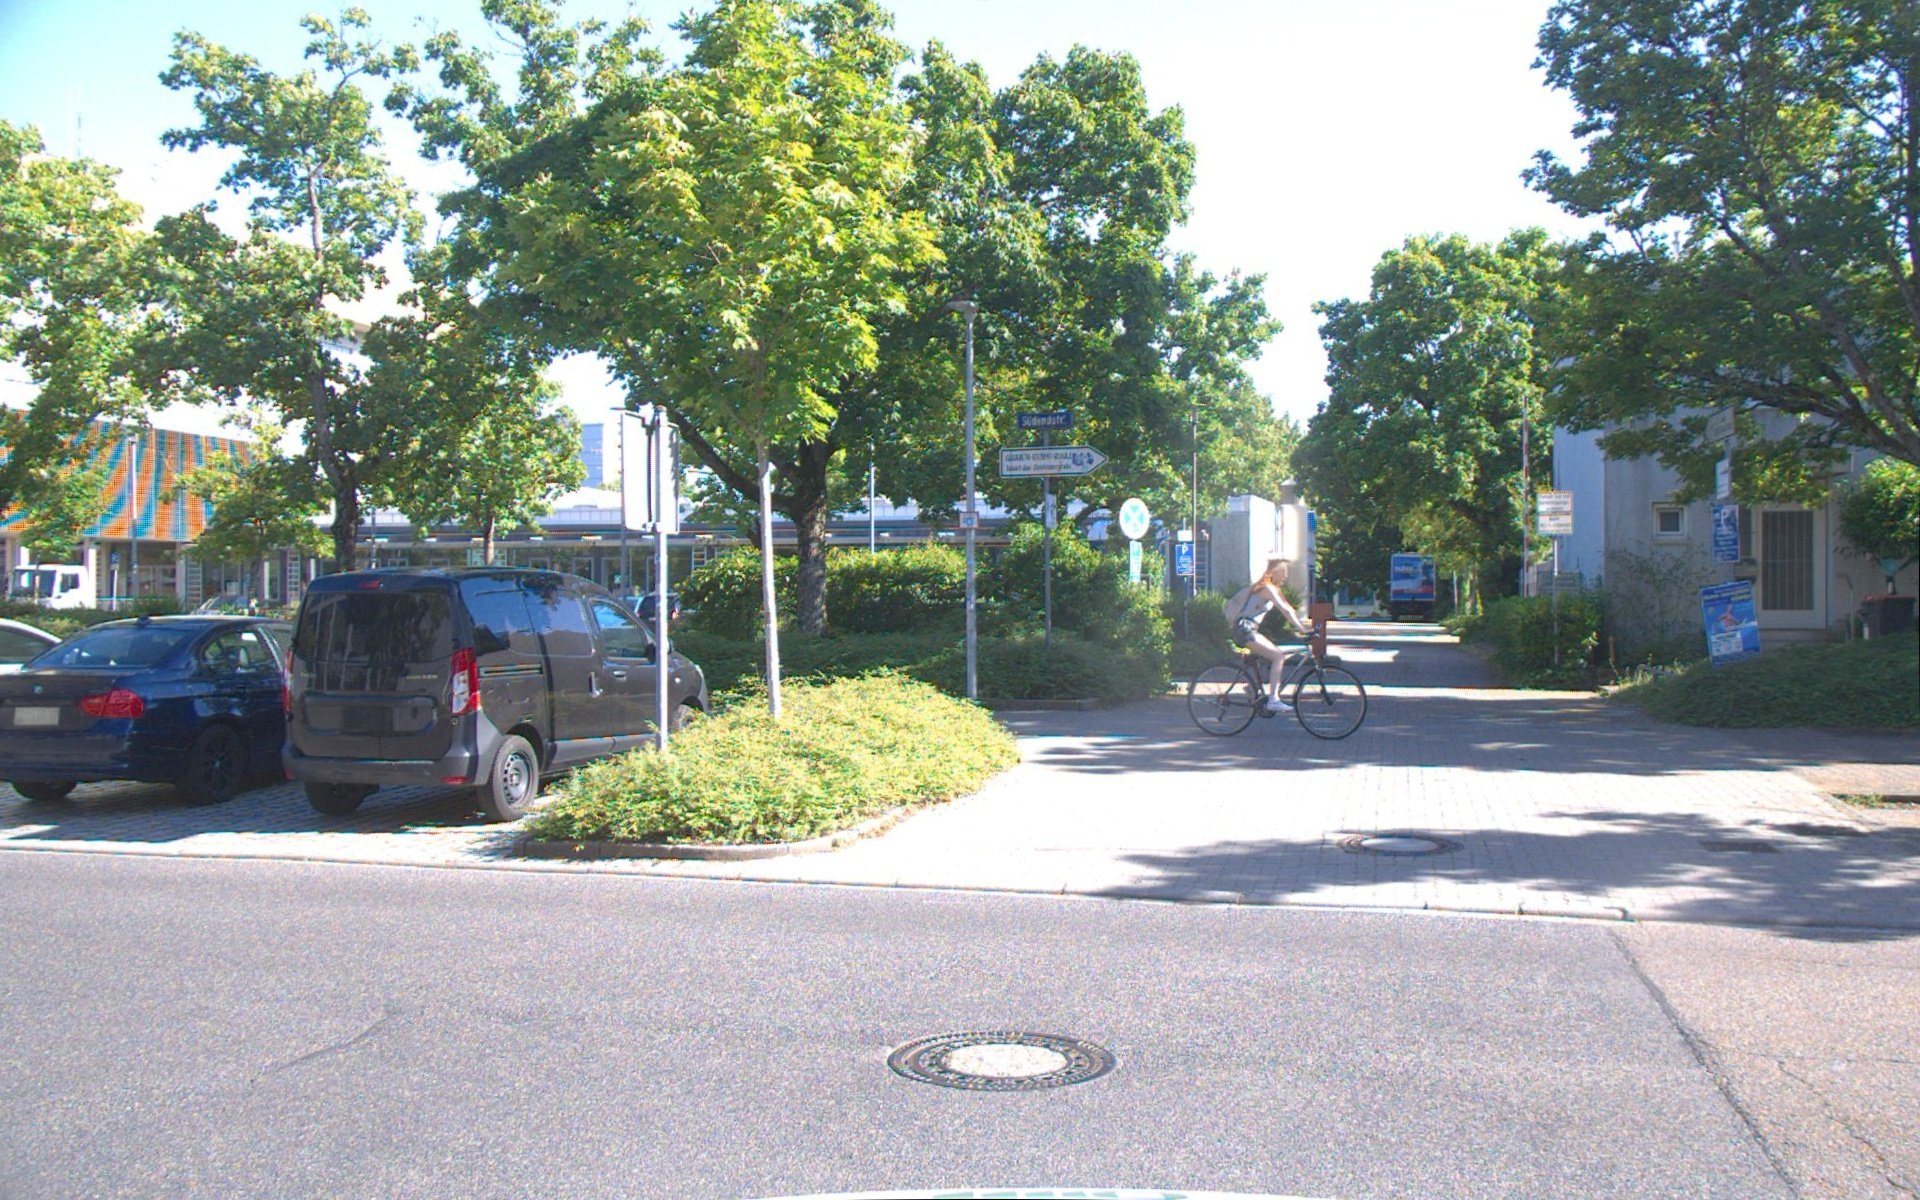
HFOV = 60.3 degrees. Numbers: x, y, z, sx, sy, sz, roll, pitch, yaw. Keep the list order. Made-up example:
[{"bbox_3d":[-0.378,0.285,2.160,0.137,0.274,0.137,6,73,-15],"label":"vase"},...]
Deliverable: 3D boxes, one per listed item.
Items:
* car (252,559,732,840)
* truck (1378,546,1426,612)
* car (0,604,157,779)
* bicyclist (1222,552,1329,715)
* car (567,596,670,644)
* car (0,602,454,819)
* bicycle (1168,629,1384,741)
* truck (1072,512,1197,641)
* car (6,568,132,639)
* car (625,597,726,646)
[{"bbox_3d":[-3.537,0.626,13.413,1.834,1.879,4.172,0,1,15],"label":"car"},{"bbox_3d":[27.557,-1.297,102.956,2.701,3.937,9.336,1,1,15],"label":"truck"},{"bbox_3d":[-9.280,0.836,14.708,1.764,1.461,3.916,0,2,13],"label":"car"},{"bbox_3d":[3.103,0.315,16.235,0.990,1.550,0.597,1,0,13],"label":"bicyclist"},{"bbox_3d":[-11.635,0.670,56.542,1.797,1.524,3.910,0,1,17],"label":"car"},{"bbox_3d":[-6.228,0.806,14.083,1.784,1.430,4.172,-1,1,13],"label":"car"},{"bbox_3d":[3.099,0.817,16.236,2.037,1.013,0.596,1,0,13],"label":"bicycle"},{"bbox_3d":[5.752,-0.768,53.526,2.743,3.873,6.928,1,1,17],"label":"truck"},{"bbox_3d":[-33.159,0.099,61.681,2.178,2.534,3.648,0,1,17],"label":"car"},{"bbox_3d":[-9.608,0.703,56.089,1.797,1.524,3.910,0,1,17],"label":"car"}]
